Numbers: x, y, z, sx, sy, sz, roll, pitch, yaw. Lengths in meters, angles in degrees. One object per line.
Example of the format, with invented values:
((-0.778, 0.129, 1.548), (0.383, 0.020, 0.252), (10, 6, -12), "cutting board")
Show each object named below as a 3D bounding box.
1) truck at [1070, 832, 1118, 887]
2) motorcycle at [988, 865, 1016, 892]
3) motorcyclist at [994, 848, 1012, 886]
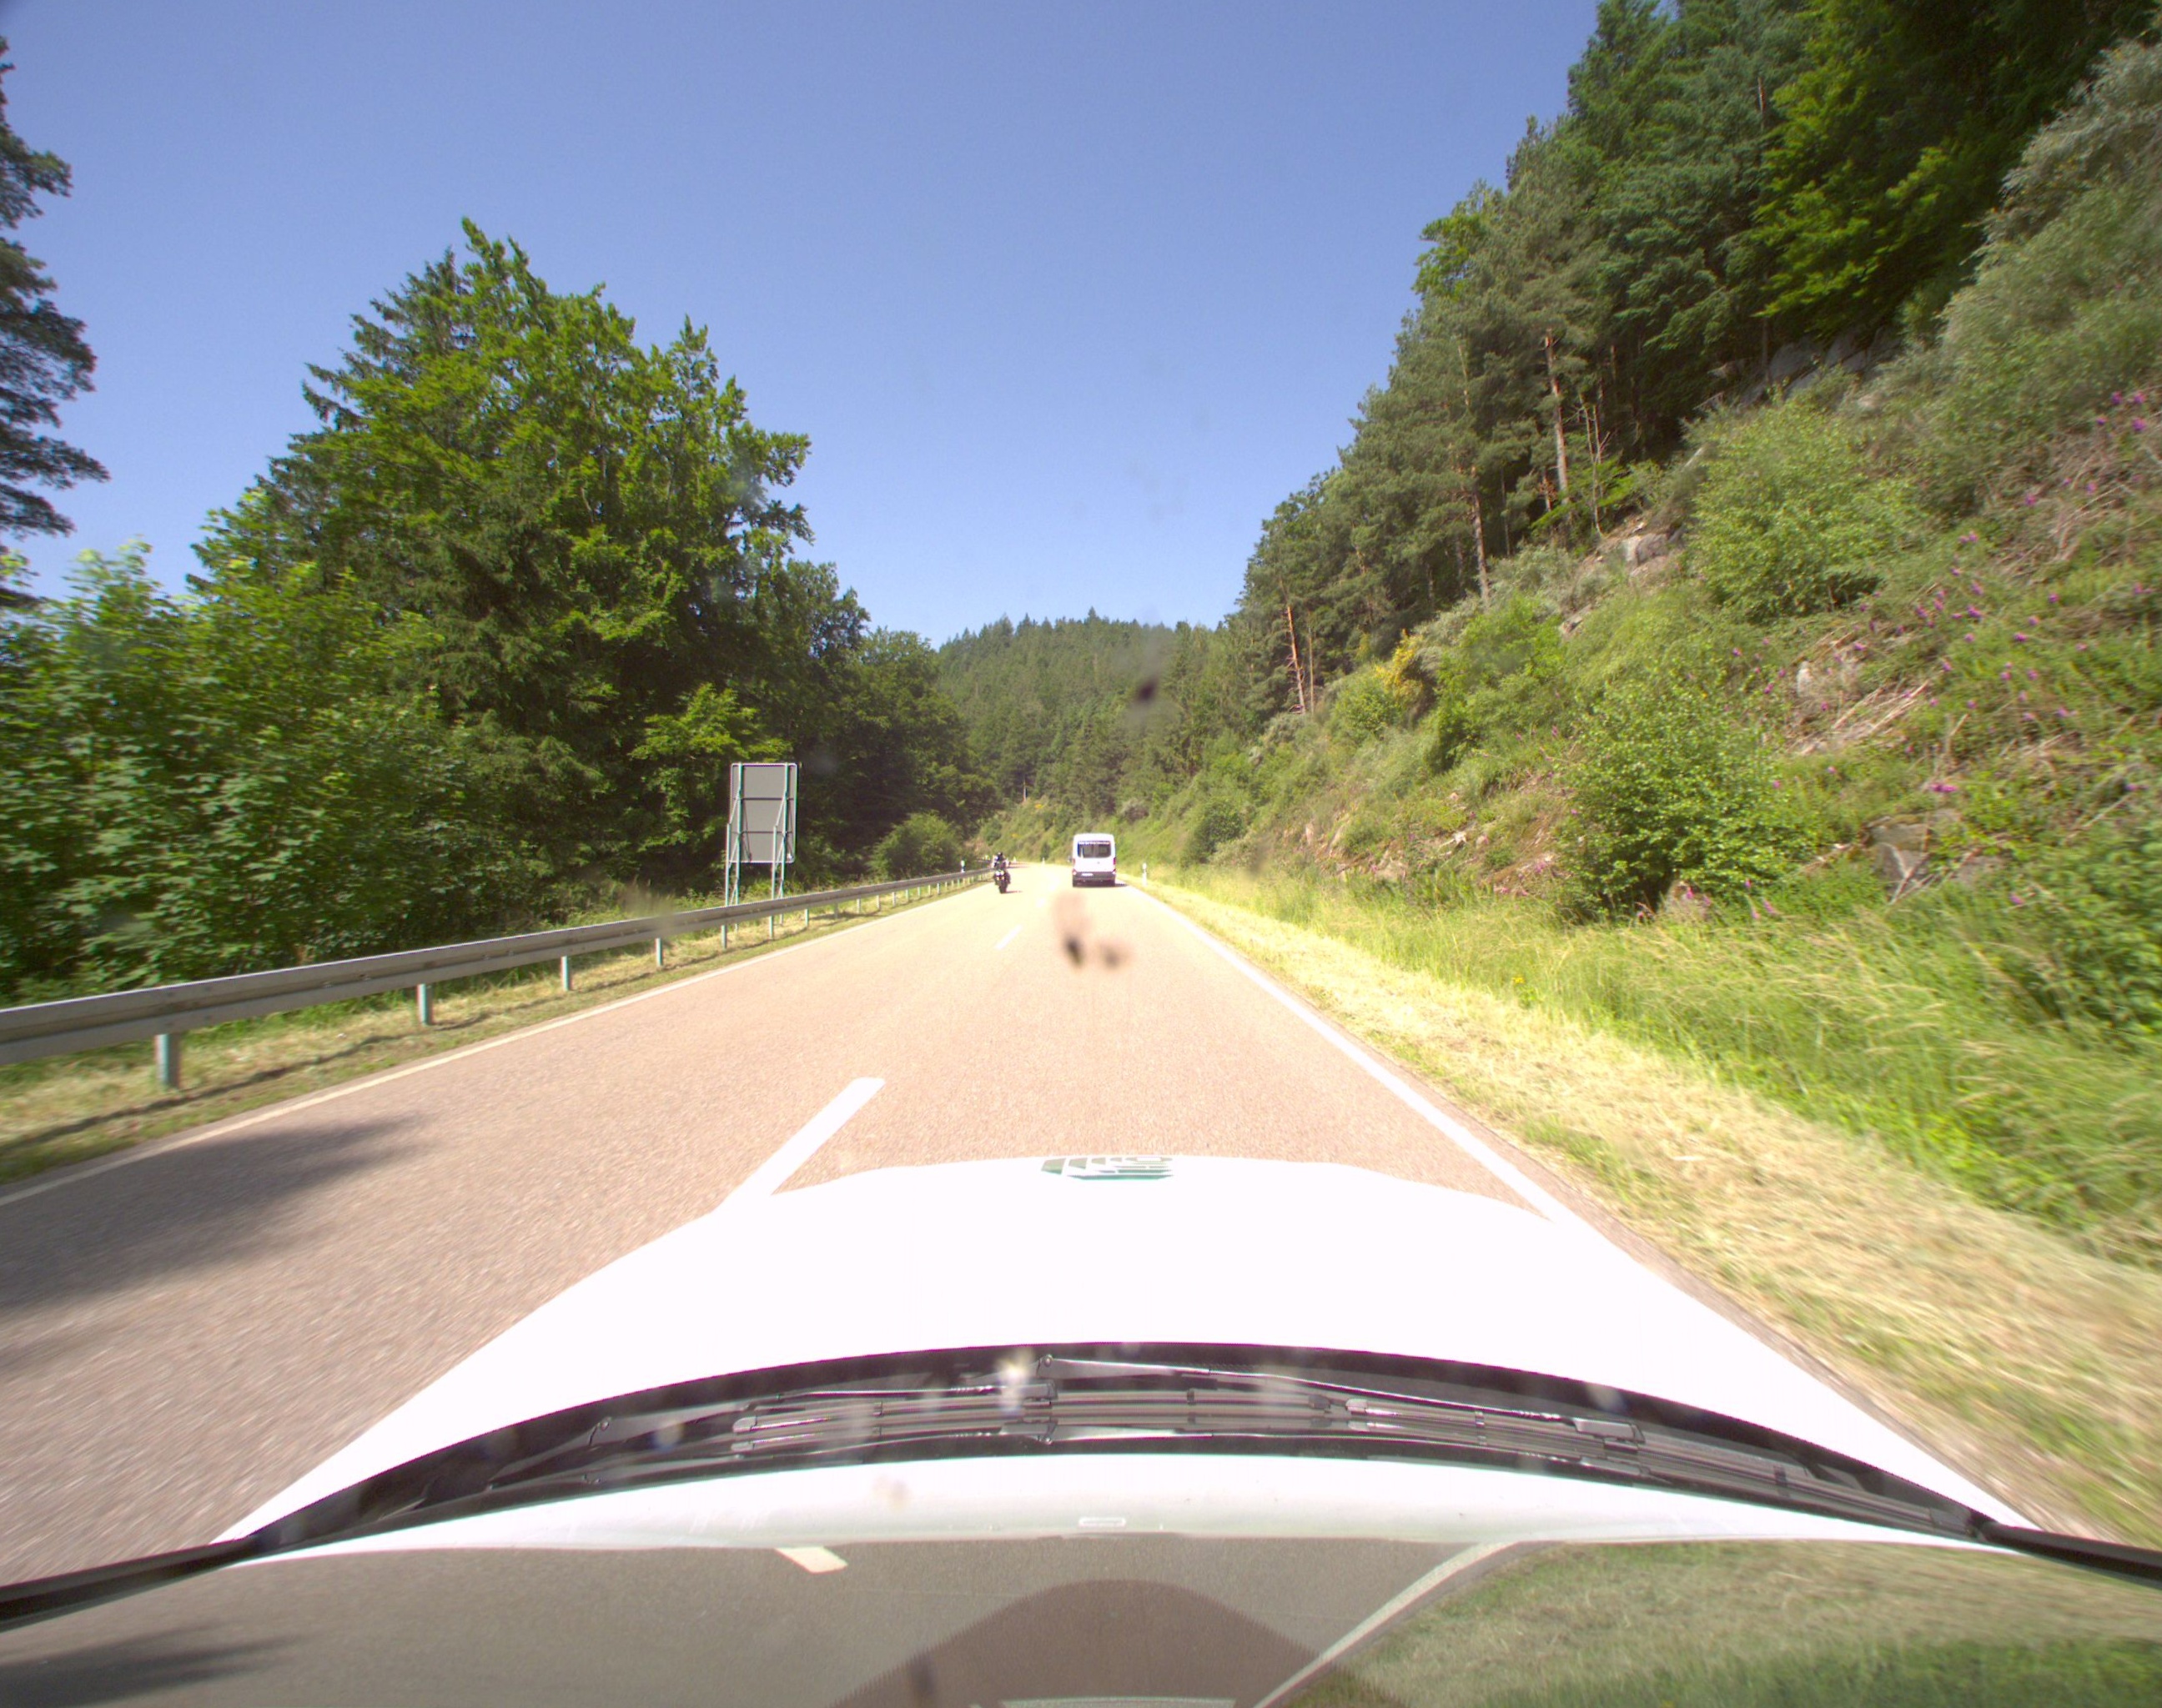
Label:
((0.543, 0.229, 39.415), (2.078, 2.459, 4.871), (-1, 0, -2), "truck")
((-3.243, 0.994, 33.666), (0.981, 1.071, 1.962), (-1, 0, 0), "motorcycle")
((-3.225, 0.534, 33.724), (0.656, 1.513, 0.933), (-1, 0, -2), "motorcyclist")
